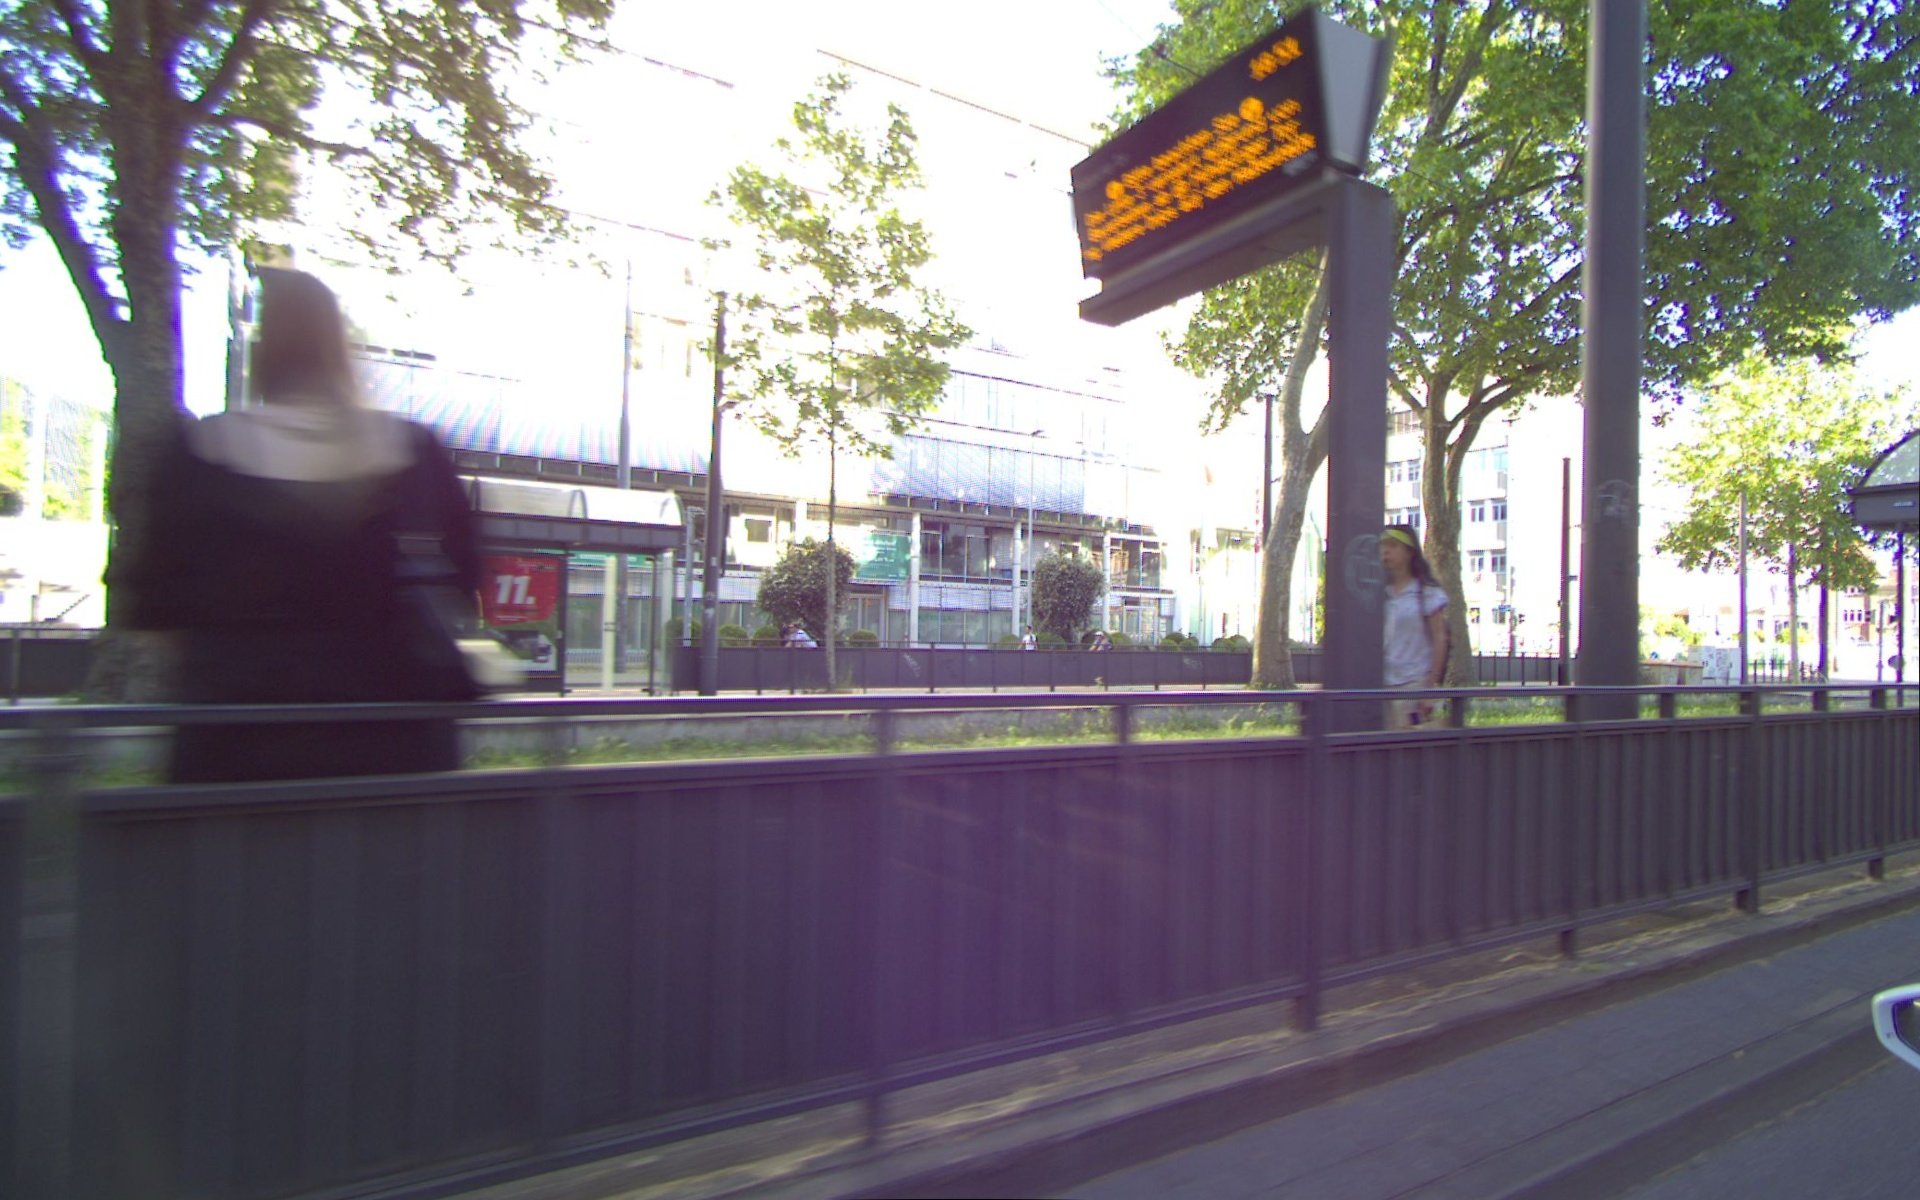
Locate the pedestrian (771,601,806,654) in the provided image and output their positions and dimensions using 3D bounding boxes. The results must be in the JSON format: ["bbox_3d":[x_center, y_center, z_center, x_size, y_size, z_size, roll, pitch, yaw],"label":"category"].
[{"bbox_3d":[-5.376,0.848,31.423,0.759,1.613,0.901,3,-2,-31],"label":"pedestrian"}]

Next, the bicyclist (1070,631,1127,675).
[{"bbox_3d":[4.220,1.621,30.608,1.360,1.266,0.998,2,0,-33],"label":"bicyclist"}]

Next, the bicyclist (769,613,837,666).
[{"bbox_3d":[-3.973,0.993,25.417,1.360,1.266,0.998,2,0,-33],"label":"bicyclist"}]

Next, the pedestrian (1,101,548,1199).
[{"bbox_3d":[-1.198,0.260,1.860,0.654,1.911,0.643,3,-2,-31],"label":"pedestrian"}]

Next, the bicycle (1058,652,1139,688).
[{"bbox_3d":[4.235,2.142,30.637,2.558,1.010,0.795,3,0,-34],"label":"bicycle"}]

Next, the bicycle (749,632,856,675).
[{"bbox_3d":[-3.968,1.364,25.423,2.558,1.010,0.795,3,0,-34],"label":"bicycle"}]

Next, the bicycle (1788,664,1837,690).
[{"bbox_3d":[32.860,2.966,38.715,1.703,0.958,0.810,3,-2,-25],"label":"bicycle"}]

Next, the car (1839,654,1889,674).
[{"bbox_3d":[82.392,5.838,91.560,4.322,1.725,1.987,3,-2,-27],"label":"car"}]

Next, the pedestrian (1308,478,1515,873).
[{"bbox_3d":[2.372,0.380,5.294,0.744,1.896,0.642,3,-1,-30],"label":"pedestrian"}]

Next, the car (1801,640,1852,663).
[{"bbox_3d":[81.468,4.864,94.427,4.664,2.040,1.987,3,-2,-27],"label":"car"}]

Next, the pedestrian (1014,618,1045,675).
[{"bbox_3d":[2.490,1.672,35.991,0.825,2.002,0.602,2,0,-33],"label":"pedestrian"}]
